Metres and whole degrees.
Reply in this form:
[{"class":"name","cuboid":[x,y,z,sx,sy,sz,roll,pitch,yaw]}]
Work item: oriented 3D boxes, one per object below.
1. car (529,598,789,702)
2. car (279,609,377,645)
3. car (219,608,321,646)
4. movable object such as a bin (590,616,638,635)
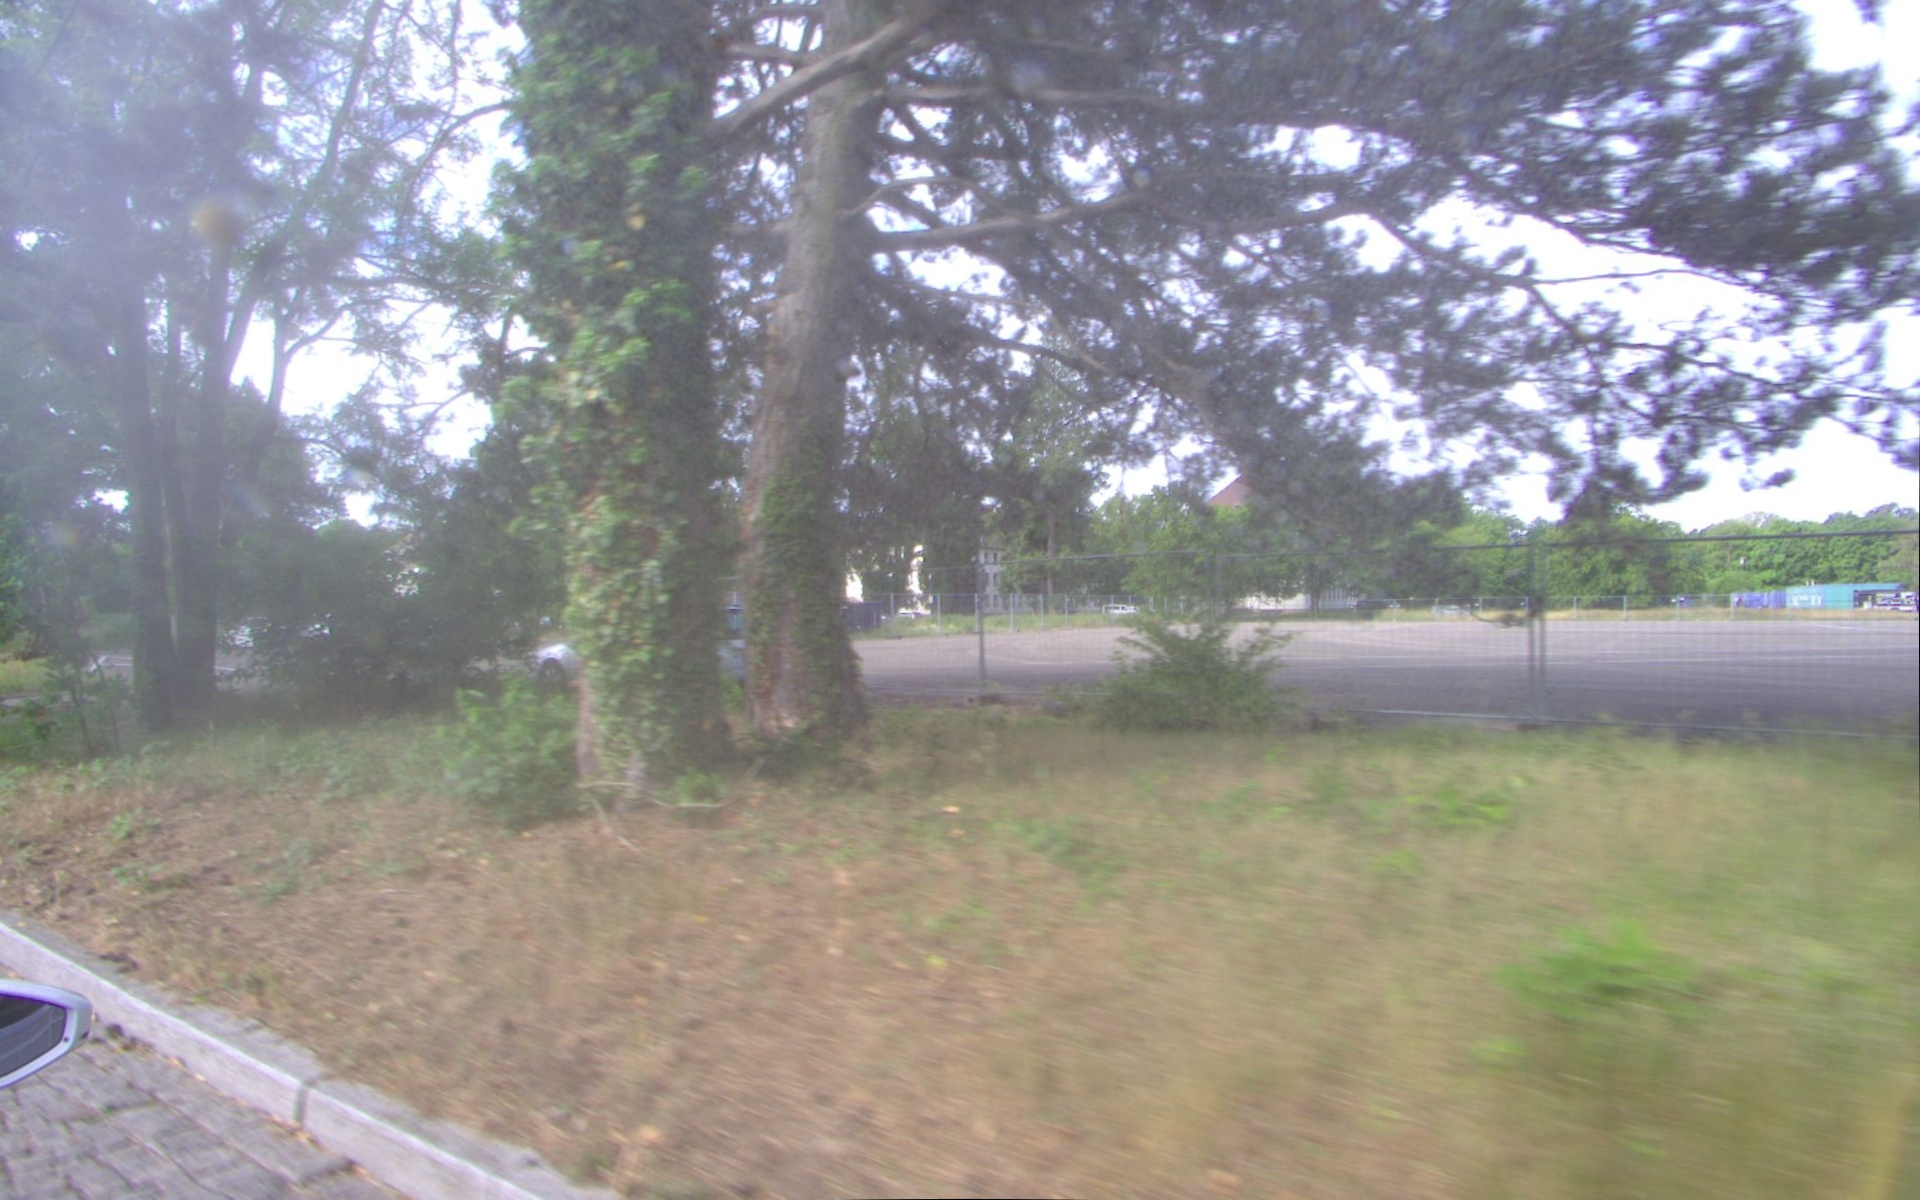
[{"class":"car","cuboid":[-4.779,0.763,15.748,4.014,1.444,1.644,-1,-3,31]},{"class":"car","cuboid":[-29.421,1.270,46.604,4.359,1.500,1.991,-2,-1,29]},{"class":"car","cuboid":[-30.604,1.201,44.377,4.359,1.500,1.991,-2,-1,29]},{"class":"movable object such as a bin","cuboid":[-15.659,1.159,45.313,1.928,0.836,1.181,-1,0,37]}]
